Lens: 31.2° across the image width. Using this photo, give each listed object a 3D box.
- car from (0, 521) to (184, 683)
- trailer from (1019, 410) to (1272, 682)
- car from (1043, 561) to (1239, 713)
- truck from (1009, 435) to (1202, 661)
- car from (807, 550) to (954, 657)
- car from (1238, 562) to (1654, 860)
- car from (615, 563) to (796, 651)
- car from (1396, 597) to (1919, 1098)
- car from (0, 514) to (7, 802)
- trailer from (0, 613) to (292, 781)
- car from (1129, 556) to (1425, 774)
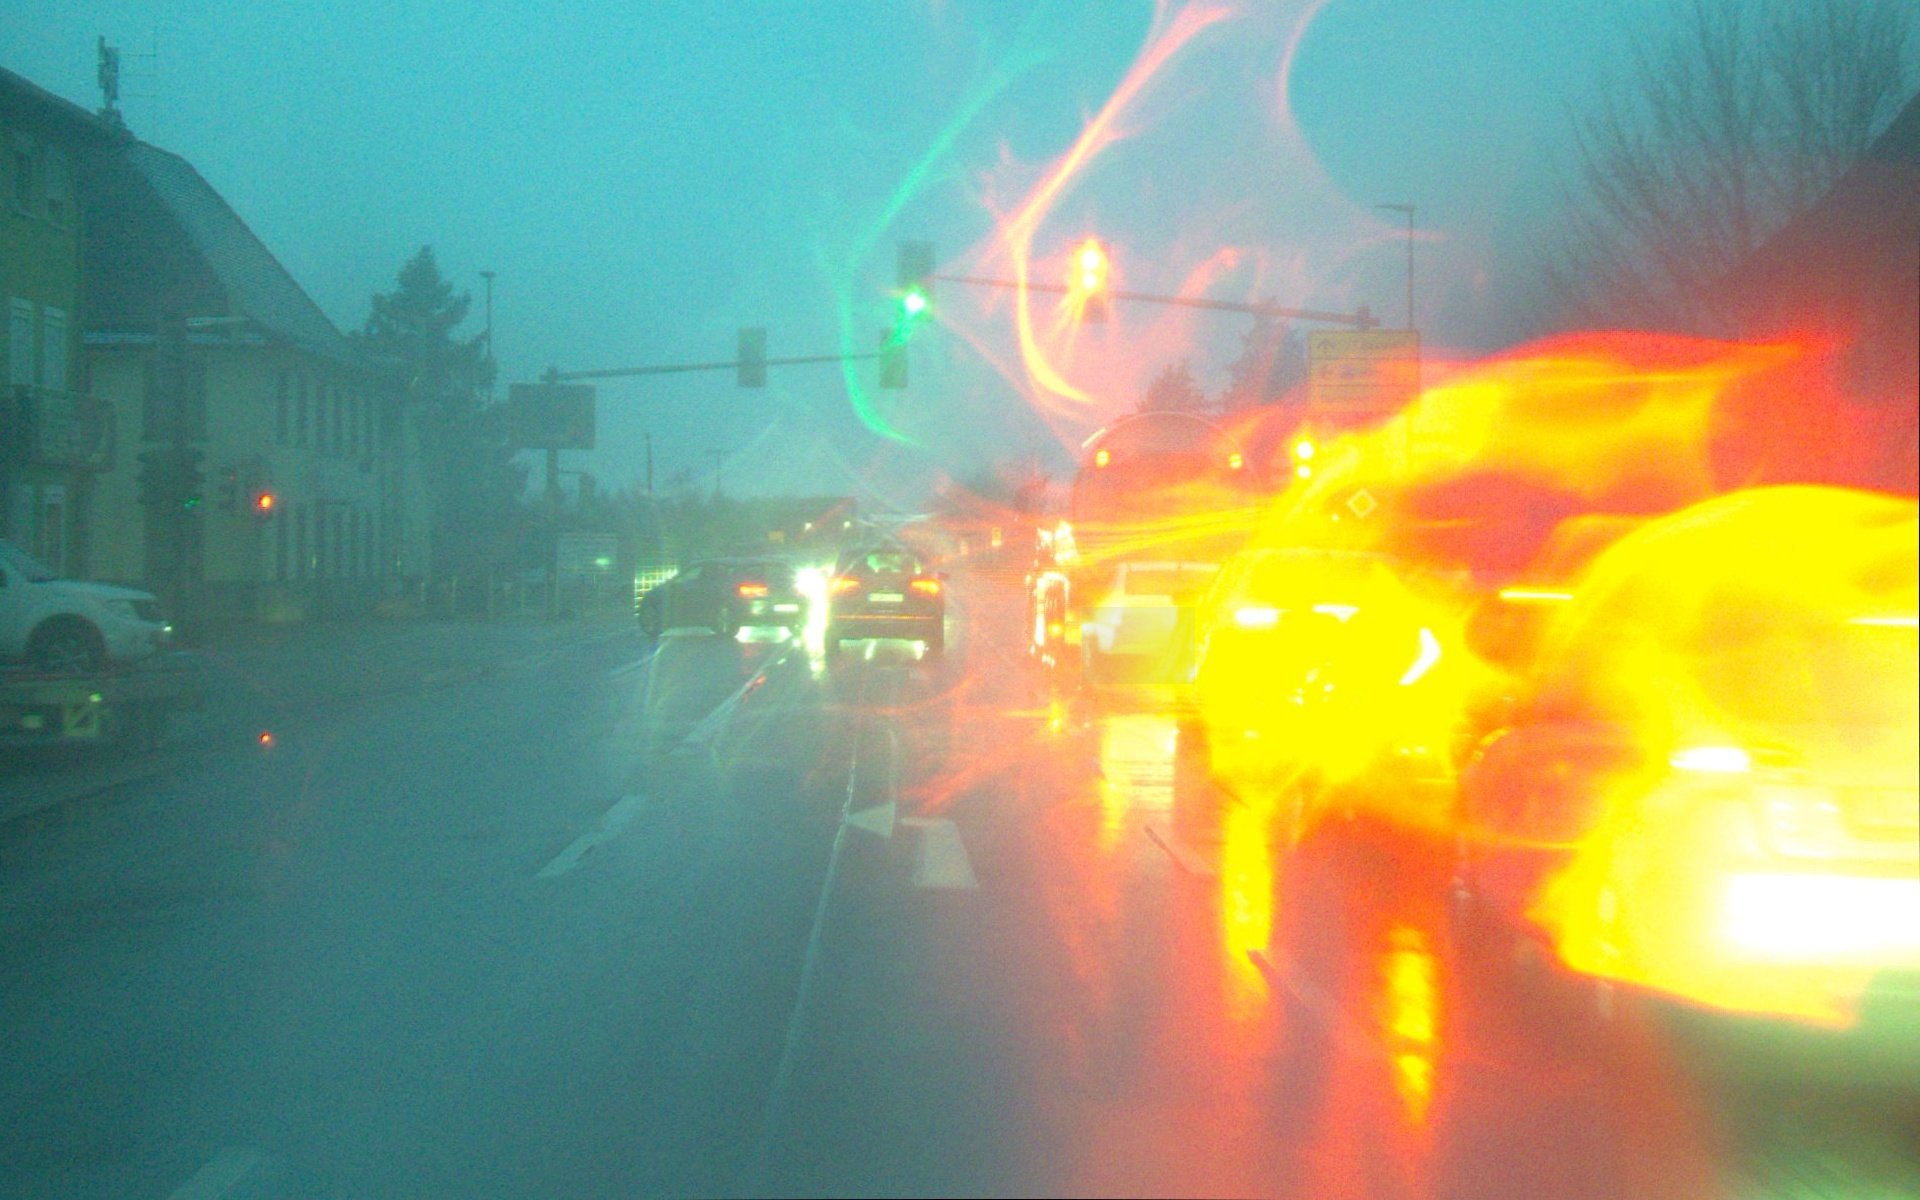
[{"bbox_3d":[-11.665,-0.009,39.145,5.189,1.785,2.000,1,1,1],"label":"car"},{"bbox_3d":[2.340,-0.716,46.986,2.488,3.229,10.869,1,1,-2],"label":"trailer"},{"bbox_3d":[1.811,0.330,35.579,1.662,1.434,4.382,1,1,-1],"label":"car"},{"bbox_3d":[2.151,-0.790,52.977,2.461,3.219,6.273,1,1,-2],"label":"truck"},{"bbox_3d":[-1.281,0.019,53.082,2.047,1.567,4.704,0,1,-4],"label":"car"},{"bbox_3d":[2.681,0.550,19.880,1.701,1.466,4.272,2,1,-1],"label":"car"},{"bbox_3d":[-4.682,0.115,63.135,3.215,1.503,1.549,1,1,-7],"label":"car"},{"bbox_3d":[2.635,0.698,11.794,1.653,1.331,4.272,1,1,-1],"label":"car"},{"bbox_3d":[-7.045,0.419,19.677,1.970,1.824,4.513,-1,1,-1],"label":"car"},{"bbox_3d":[-6.869,0.704,27.381,1.993,1.035,6.104,-1,1,-1],"label":"trailer"},{"bbox_3d":[2.465,0.456,27.778,1.836,1.563,4.504,2,1,-1],"label":"car"}]
